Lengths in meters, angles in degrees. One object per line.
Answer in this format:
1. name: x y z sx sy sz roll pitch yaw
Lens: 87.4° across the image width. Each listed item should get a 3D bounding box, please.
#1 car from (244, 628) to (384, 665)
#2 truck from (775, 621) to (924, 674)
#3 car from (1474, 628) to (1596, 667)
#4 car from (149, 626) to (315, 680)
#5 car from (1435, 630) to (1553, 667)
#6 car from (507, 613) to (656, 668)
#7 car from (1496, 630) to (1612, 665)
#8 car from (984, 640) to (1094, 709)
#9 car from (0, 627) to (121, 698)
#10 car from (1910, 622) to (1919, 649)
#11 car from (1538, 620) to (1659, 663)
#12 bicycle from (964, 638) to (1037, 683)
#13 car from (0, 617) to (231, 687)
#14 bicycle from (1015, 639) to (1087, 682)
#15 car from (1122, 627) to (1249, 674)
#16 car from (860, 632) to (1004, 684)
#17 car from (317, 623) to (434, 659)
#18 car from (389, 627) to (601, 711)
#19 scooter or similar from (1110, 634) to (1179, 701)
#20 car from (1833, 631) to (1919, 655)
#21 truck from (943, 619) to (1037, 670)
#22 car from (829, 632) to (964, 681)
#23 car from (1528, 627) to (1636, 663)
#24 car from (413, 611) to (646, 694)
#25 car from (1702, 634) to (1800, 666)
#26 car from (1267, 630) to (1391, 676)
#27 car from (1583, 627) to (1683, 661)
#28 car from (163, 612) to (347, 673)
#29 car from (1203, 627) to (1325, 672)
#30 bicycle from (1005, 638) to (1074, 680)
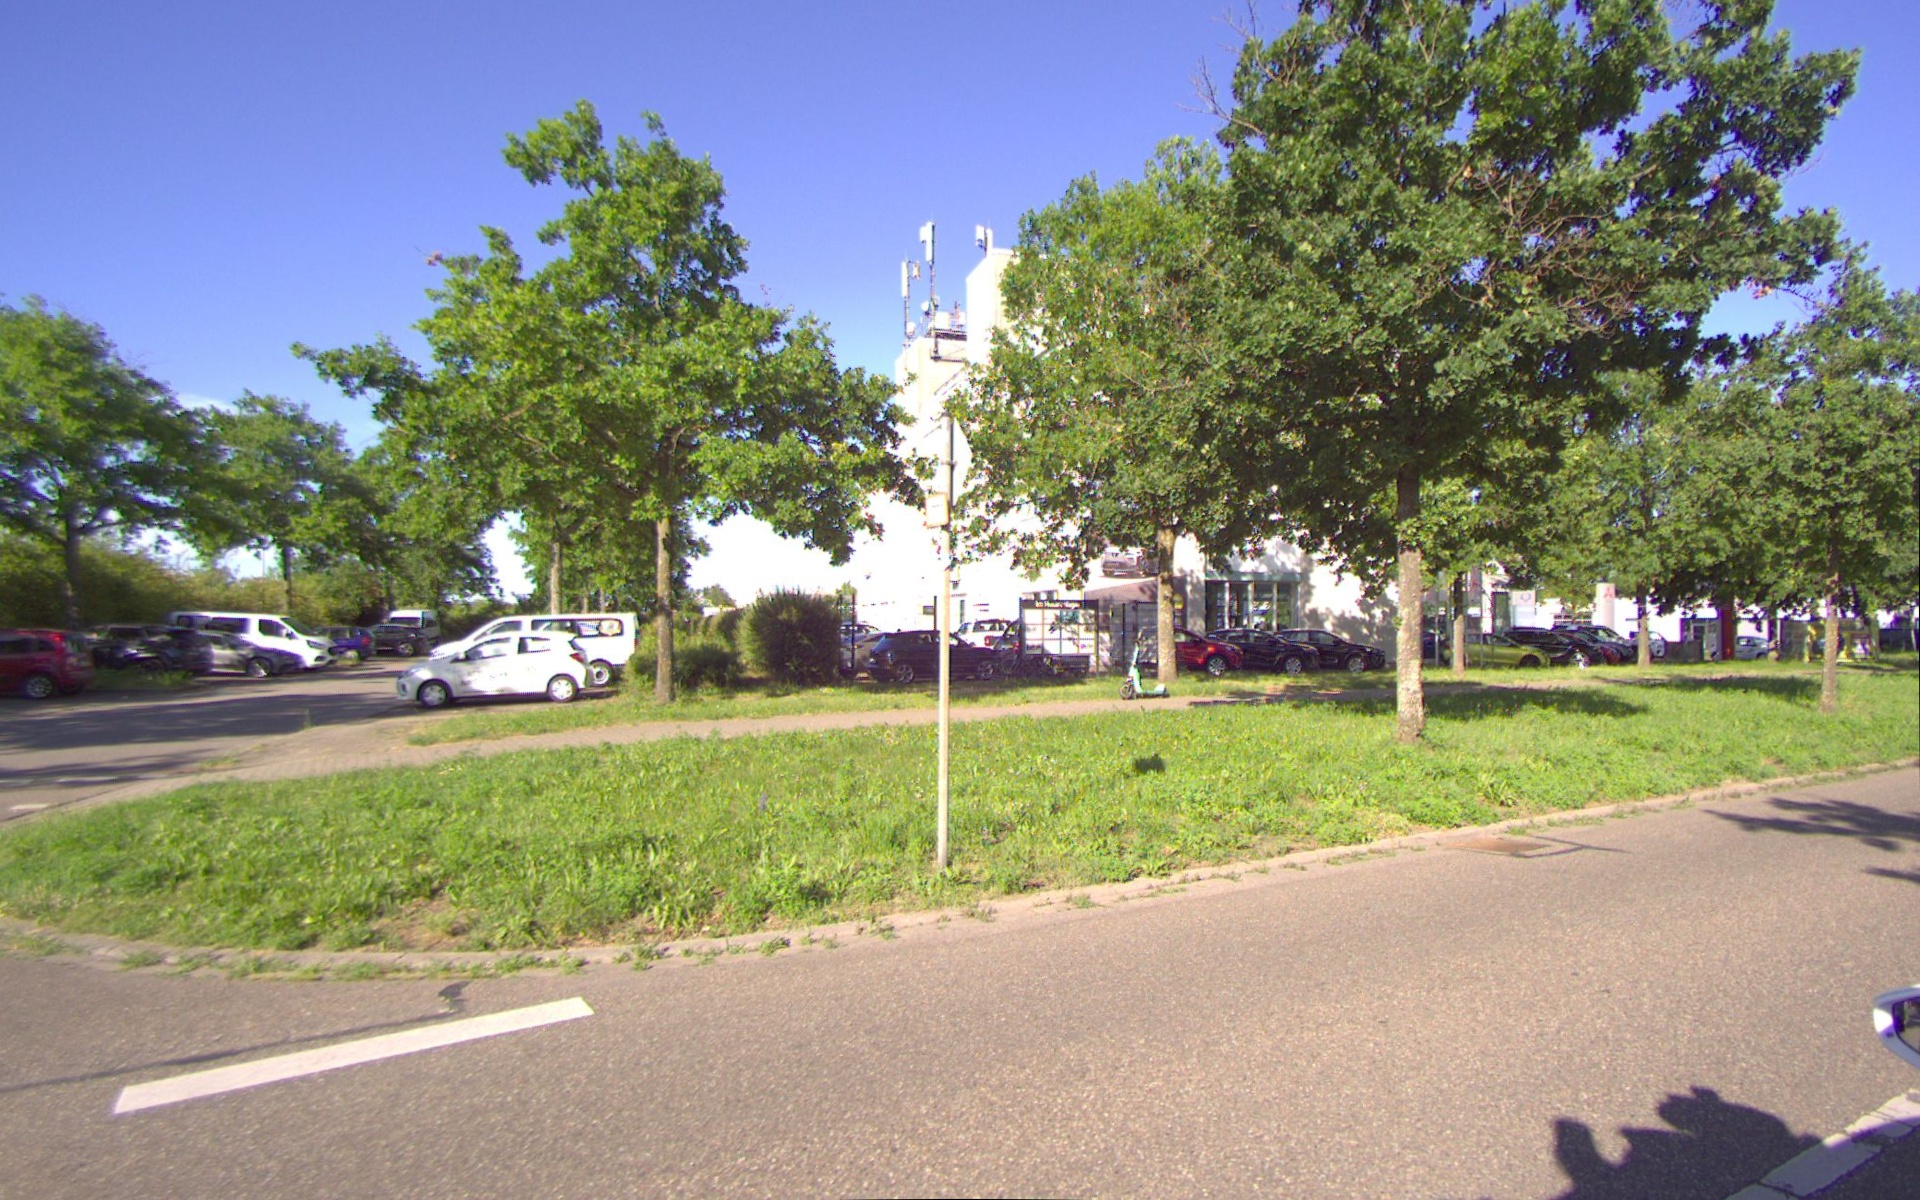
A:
1. car: -28.626 2.031 44.682 4.801 1.590 1.994 1 -2 -15
2. truck: -4.072 1.724 37.093 5.117 1.866 2.018 1 -2 -28
3. car: 23.796 1.930 41.740 4.087 1.558 1.897 -1 -2 18
4. car: -23.342 1.680 32.391 3.945 1.633 1.989 1 -2 -23
5. car: 21.156 1.914 39.973 3.875 1.420 2.001 -1 -2 18
6. car: -15.250 1.599 40.787 5.433 1.954 2.361 -2 -1 -19
7. car: 25.982 2.062 44.117 4.089 1.510 2.000 -1 -2 21
8. car: 2.374 2.238 31.206 1.994 1.807 4.013 1 0 -19
9. car: -21.588 1.380 22.742 3.497 1.524 1.798 2 -2 -19
10. car: 72.141 2.613 73.917 5.746 2.015 2.023 1 -2 -34
11. car: 31.910 2.063 50.351 4.762 2.040 2.001 -1 -2 18
12. bicycle: 1.060 1.553 26.030 1.869 1.102 0.636 1 -2 -31
13. car: -23.300 1.406 27.634 4.801 1.808 1.994 1 -2 -15
14. bicycle: 2.405 1.581 26.476 1.869 1.102 0.636 1 -2 -31
15. car: 7.294 1.612 32.648 3.919 1.467 1.802 0 -2 12
16. car: -0.841 1.693 30.028 3.949 1.467 1.789 1 -2 -28
17. car: -30.019 2.116 51.784 4.801 1.797 1.994 1 -2 -15
18. car: -9.775 1.411 21.459 3.856 1.524 1.992 -2 -1 -19
19. scooter or similar: 3.655 1.320 19.880 1.424 1.296 0.393 1 -2 -30
20. car: 59.444 2.748 64.650 1.915 1.499 4.487 1 -2 -26
21. truck: 1.004 1.548 36.371 2.054 1.646 4.614 1 0 -16
22. car: -2.022 1.773 32.130 3.949 1.467 1.789 1 -2 -28
23. car: 28.600 2.056 46.352 4.094 1.583 1.997 -1 -2 28
24. car: -11.090 1.316 26.350 5.356 1.840 2.299 -2 -1 -19
25. car: 42.573 2.645 54.142 1.932 1.639 3.741 1 -2 -17
26. car: 13.225 1.857 36.019 3.930 1.531 1.797 -1 -1 31
27. car: 40.489 2.618 60.593 1.908 1.931 5.013 0 -2 -14
28. car: -24.455 1.471 35.066 4.801 2.040 1.994 1 -2 -15
29. car: 10.396 1.682 34.474 3.920 1.467 1.802 -1 -2 17
30. bicycle: 2.177 1.601 27.495 1.869 1.102 0.636 1 -2 -31
